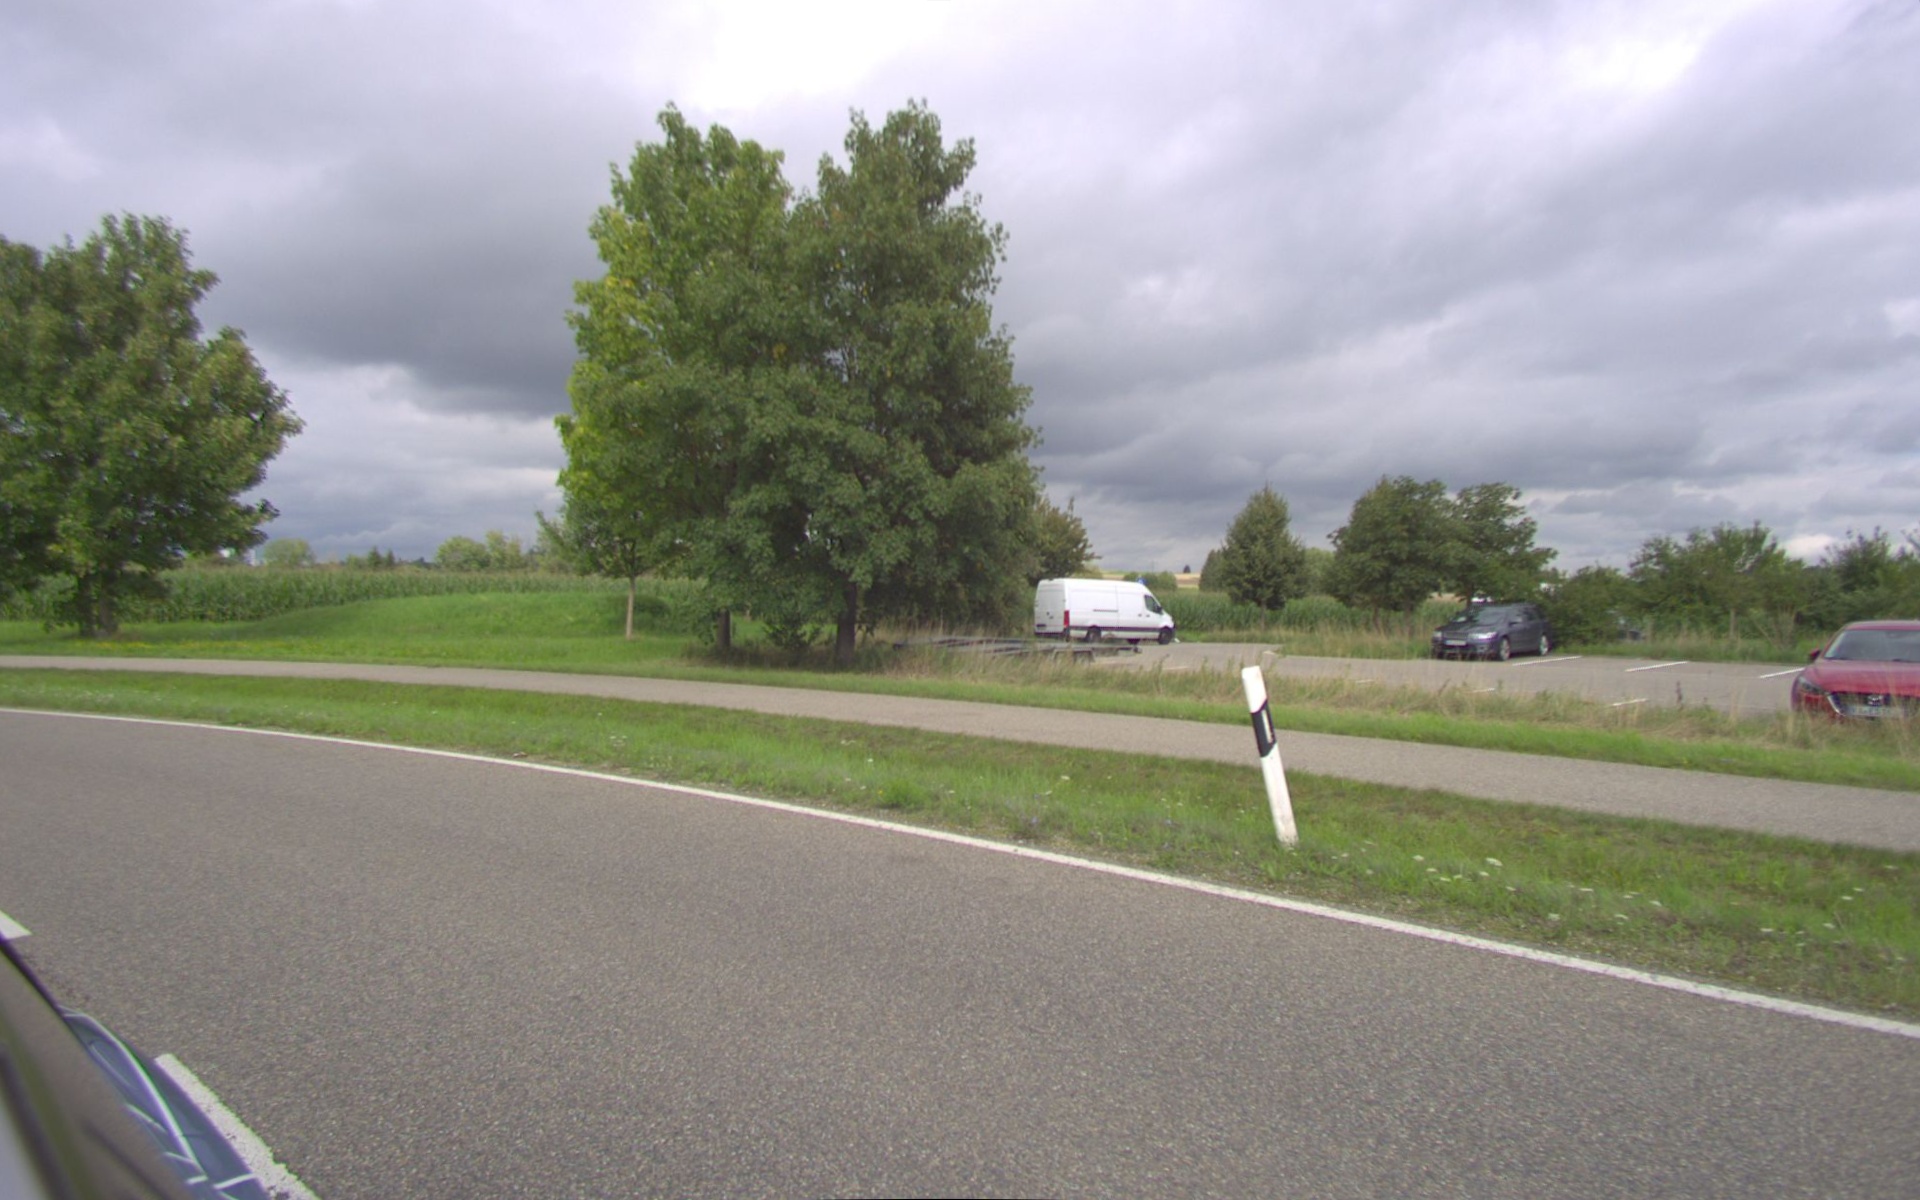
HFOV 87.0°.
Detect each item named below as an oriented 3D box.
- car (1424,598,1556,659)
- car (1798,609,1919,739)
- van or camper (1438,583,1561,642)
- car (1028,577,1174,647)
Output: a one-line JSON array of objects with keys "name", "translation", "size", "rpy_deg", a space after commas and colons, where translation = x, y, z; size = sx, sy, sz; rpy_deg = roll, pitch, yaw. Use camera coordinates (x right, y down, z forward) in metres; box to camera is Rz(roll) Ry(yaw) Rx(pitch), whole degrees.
[{"name": "car", "translation": [14.315, 0.728, 27.277], "size": [3.937, 1.536, 1.797], "rpy_deg": [0, -1, -40]}, {"name": "car", "translation": [12.112, 0.833, 12.535], "size": [4.308, 1.427, 1.817], "rpy_deg": [1, -1, -38]}, {"name": "van or camper", "translation": [23.336, 0.478, 43.651], "size": [5.950, 2.364, 2.291], "rpy_deg": [-1, 0, -36]}, {"name": "car", "translation": [5.822, 0.498, 41.177], "size": [6.233, 2.639, 2.205], "rpy_deg": [1, -1, -38]}]
